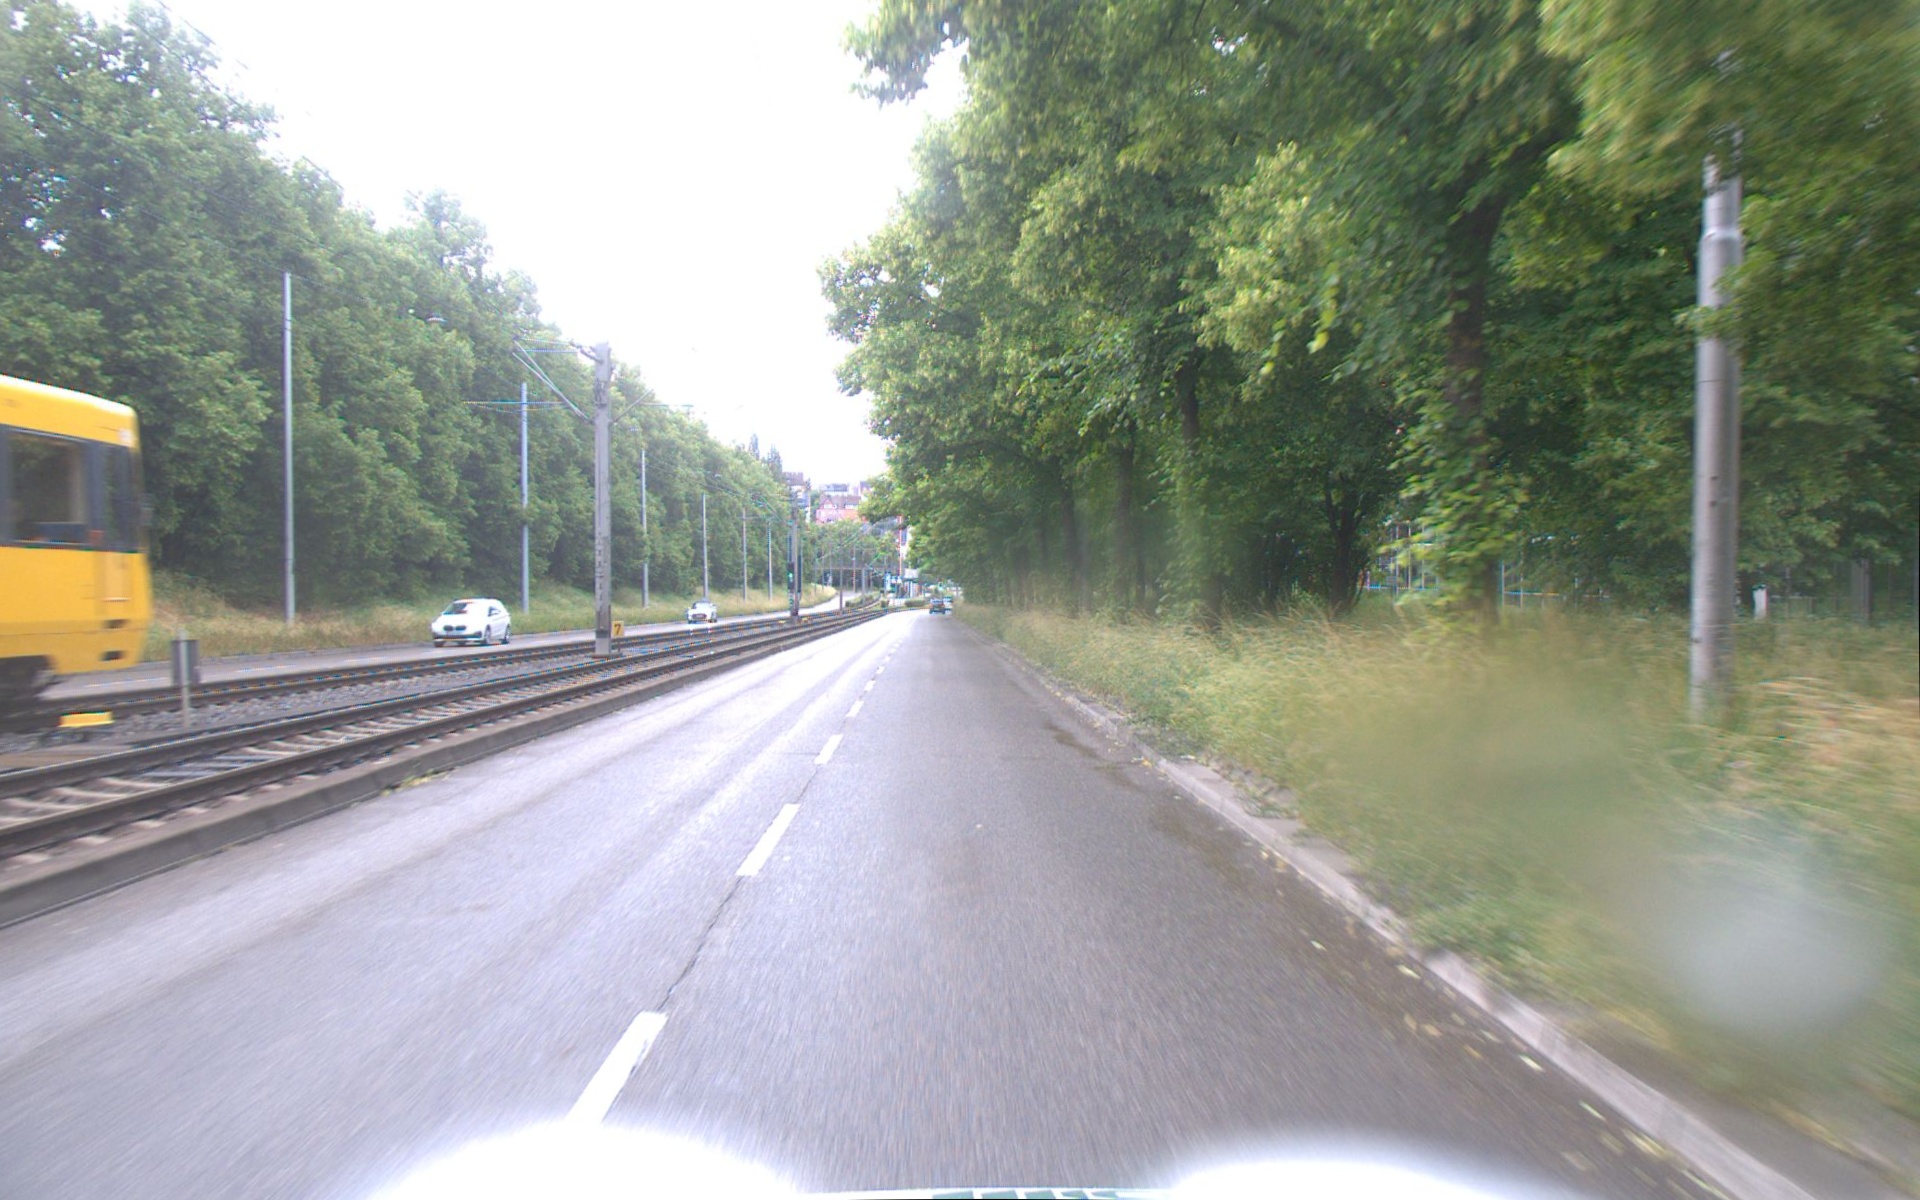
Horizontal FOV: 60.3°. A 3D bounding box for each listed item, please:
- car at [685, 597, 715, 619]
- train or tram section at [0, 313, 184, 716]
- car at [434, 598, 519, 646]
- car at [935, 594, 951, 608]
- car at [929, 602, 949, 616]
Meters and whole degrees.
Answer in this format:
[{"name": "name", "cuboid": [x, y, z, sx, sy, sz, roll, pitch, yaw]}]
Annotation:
[{"name": "car", "cuboid": [-17.966, 0.529, 114.461, 1.446, 1.461, 3.909, -2, 0, -1]}, {"name": "train or tram section", "cuboid": [-10.752, -0.751, 9.878, 2.906, 3.877, 19.521, 0, 1, 1]}, {"name": "car", "cuboid": [-16.480, 0.730, 56.561, 1.619, 1.556, 4.380, 0, 0, 0]}, {"name": "car", "cuboid": [-2.079, 0.147, 204.596, 1.953, 1.680, 4.000, 0, 0, -1]}, {"name": "car", "cuboid": [-2.355, 0.973, 181.692, 2.149, 1.352, 3.999, 0, 1, -1]}]
